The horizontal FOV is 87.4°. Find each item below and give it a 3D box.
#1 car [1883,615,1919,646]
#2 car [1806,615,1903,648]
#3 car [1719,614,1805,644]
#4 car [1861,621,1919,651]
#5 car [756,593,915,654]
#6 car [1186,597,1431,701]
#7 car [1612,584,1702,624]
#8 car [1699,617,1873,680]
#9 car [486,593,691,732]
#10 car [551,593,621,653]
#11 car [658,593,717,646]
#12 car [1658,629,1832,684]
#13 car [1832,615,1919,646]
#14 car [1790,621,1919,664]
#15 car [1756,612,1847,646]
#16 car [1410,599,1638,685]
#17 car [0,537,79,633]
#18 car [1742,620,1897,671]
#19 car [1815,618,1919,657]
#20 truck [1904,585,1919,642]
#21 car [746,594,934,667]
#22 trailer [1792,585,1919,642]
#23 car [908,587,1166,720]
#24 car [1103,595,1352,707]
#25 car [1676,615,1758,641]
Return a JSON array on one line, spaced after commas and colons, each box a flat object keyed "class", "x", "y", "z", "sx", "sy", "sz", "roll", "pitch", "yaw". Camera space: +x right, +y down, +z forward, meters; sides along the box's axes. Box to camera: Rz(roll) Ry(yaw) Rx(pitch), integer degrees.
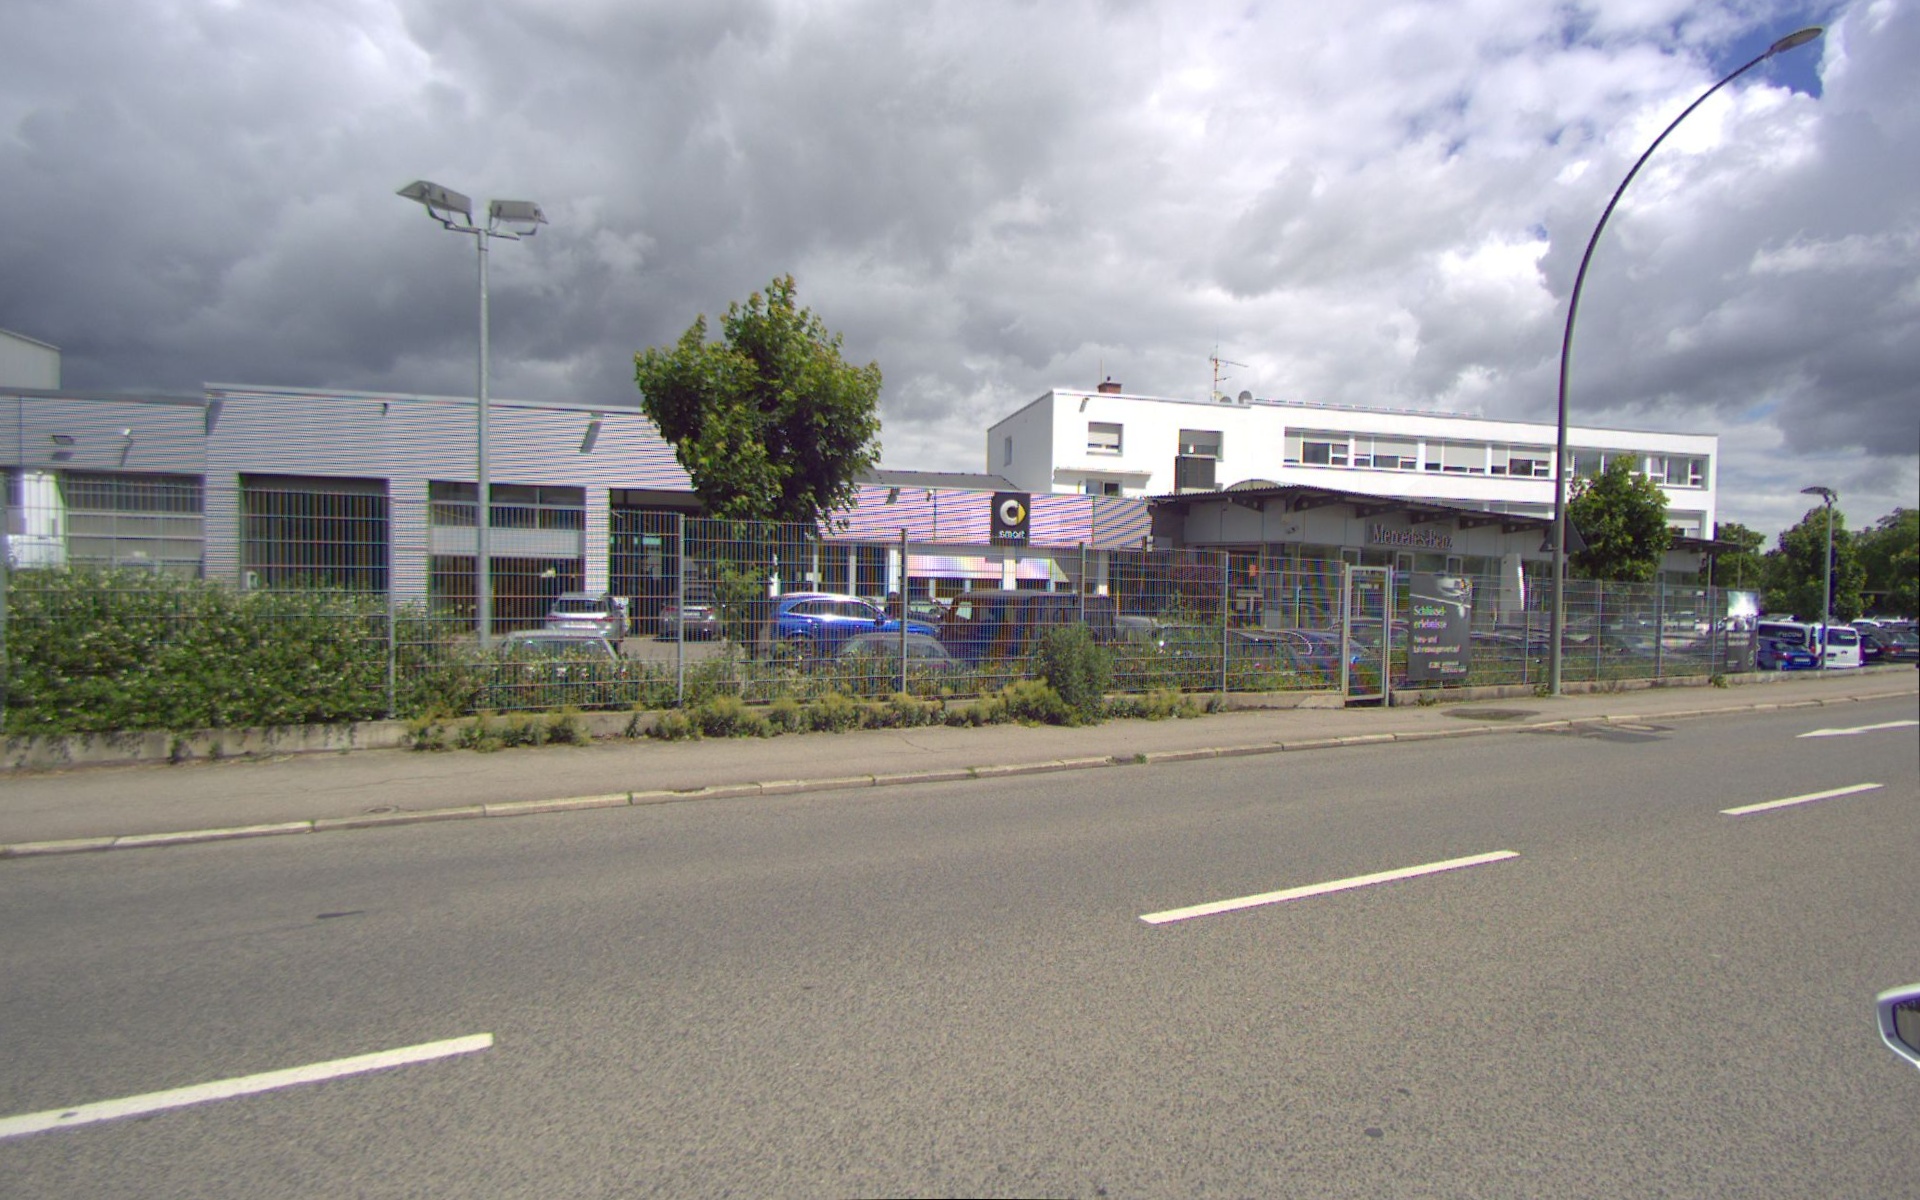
[{"class": "car", "x": 59.852, "y": 1.929, "z": 61.593, "sx": 4.229, "sy": 1.786, "sz": 2.000, "roll": 2, "pitch": 1, "yaw": 18}, {"class": "car", "x": 51.584, "y": 1.805, "z": 57.948, "sx": 3.925, "sy": 1.653, "sz": 1.998, "roll": 2, "pitch": 1, "yaw": -6}, {"class": "car", "x": 50.393, "y": 1.801, "z": 63.178, "sx": 3.925, "sy": 1.666, "sz": 1.998, "roll": 2, "pitch": 1, "yaw": -6}, {"class": "car", "x": 51.624, "y": 1.966, "z": 54.644, "sx": 3.925, "sy": 1.495, "sz": 1.629, "roll": 2, "pitch": 1, "yaw": -6}, {"class": "car", "x": -3.506, "y": 0.656, "z": 28.190, "sx": 4.029, "sy": 1.568, "sz": 1.928, "roll": 2, "pitch": 1, "yaw": -24}, {"class": "car", "x": 6.777, "y": 0.878, "z": 19.964, "sx": 2.148, "sy": 1.723, "sz": 4.170, "roll": 1, "pitch": 1, "yaw": -30}, {"class": "car", "x": 62.896, "y": 0.355, "z": 90.597, "sx": 8.078, "sy": 3.380, "sz": 3.187, "roll": 2, "pitch": 1, "yaw": -28}, {"class": "car", "x": 26.752, "y": 1.520, "z": 32.731, "sx": 2.132, "sy": 1.723, "sz": 3.983, "roll": 2, "pitch": 1, "yaw": -6}, {"class": "car", "x": -4.867, "y": 0.676, "z": 12.821, "sx": 1.669, "sy": 1.412, "sz": 3.830, "roll": 1, "pitch": 1, "yaw": -33}, {"class": "car", "x": -9.609, "y": 0.552, "z": 25.747, "sx": 1.558, "sy": 1.375, "sz": 3.320, "roll": 2, "pitch": 1, "yaw": -22}, {"class": "car", "x": -7.996, "y": 0.537, "z": 29.540, "sx": 1.555, "sy": 1.375, "sz": 3.327, "roll": 2, "pitch": 1, "yaw": -15}, {"class": "car", "x": 24.523, "y": 1.717, "z": 31.584, "sx": 1.901, "sy": 1.368, "sz": 4.201, "roll": 2, "pitch": 1, "yaw": -6}, {"class": "car", "x": 55.315, "y": 1.845, "z": 60.508, "sx": 3.925, "sy": 1.675, "sz": 1.998, "roll": 2, "pitch": 1, "yaw": -6}, {"class": "car", "x": 36.255, "y": 1.679, "z": 40.550, "sx": 1.762, "sy": 1.499, "sz": 4.201, "roll": 2, "pitch": 1, "yaw": -6}, {"class": "car", "x": 50.764, "y": 1.749, "z": 60.617, "sx": 3.925, "sy": 1.855, "sz": 1.998, "roll": 2, "pitch": 1, "yaw": -6}, {"class": "car", "x": 13.170, "y": 0.914, "z": 23.735, "sx": 2.146, "sy": 1.723, "sz": 4.174, "roll": 2, "pitch": 1, "yaw": -28}, {"class": "car", "x": -21.498, "y": -0.404, "z": 20.705, "sx": 4.652, "sy": 1.925, "sz": 1.779, "roll": 2, "pitch": 1, "yaw": -15}, {"class": "car", "x": 32.091, "y": 1.650, "z": 37.681, "sx": 1.944, "sy": 1.623, "sz": 4.201, "roll": 2, "pitch": 1, "yaw": -6}, {"class": "car", "x": 39.193, "y": 1.588, "z": 42.814, "sx": 1.629, "sy": 1.420, "sz": 4.201, "roll": 2, "pitch": 1, "yaw": -6}, {"class": "truck", "x": 73.137, "y": 1.019, "z": 73.121, "sx": 6.037, "sy": 4.148, "sz": 2.816, "roll": 0, "pitch": 0, "yaw": 35}, {"class": "car", "x": -2.848, "y": 0.729, "z": 23.733, "sx": 4.029, "sy": 1.568, "sz": 1.928, "roll": 2, "pitch": 1, "yaw": -24}, {"class": "trailer", "x": 69.169, "y": 0.986, "z": 75.800, "sx": 9.589, "sy": 4.148, "sz": 2.818, "roll": 0, "pitch": 0, "yaw": 34}, {"class": "car", "x": 1.051, "y": 0.726, "z": 15.926, "sx": 2.147, "sy": 1.723, "sz": 4.173, "roll": 2, "pitch": 1, "yaw": -28}, {"class": "car", "x": 4.821, "y": 0.845, "z": 18.710, "sx": 2.147, "sy": 1.723, "sz": 4.172, "roll": 1, "pitch": 1, "yaw": -29}, {"class": "car", "x": 49.399, "y": 1.835, "z": 65.592, "sx": 3.925, "sy": 1.474, "sz": 1.998, "roll": 2, "pitch": 1, "yaw": -6}]
